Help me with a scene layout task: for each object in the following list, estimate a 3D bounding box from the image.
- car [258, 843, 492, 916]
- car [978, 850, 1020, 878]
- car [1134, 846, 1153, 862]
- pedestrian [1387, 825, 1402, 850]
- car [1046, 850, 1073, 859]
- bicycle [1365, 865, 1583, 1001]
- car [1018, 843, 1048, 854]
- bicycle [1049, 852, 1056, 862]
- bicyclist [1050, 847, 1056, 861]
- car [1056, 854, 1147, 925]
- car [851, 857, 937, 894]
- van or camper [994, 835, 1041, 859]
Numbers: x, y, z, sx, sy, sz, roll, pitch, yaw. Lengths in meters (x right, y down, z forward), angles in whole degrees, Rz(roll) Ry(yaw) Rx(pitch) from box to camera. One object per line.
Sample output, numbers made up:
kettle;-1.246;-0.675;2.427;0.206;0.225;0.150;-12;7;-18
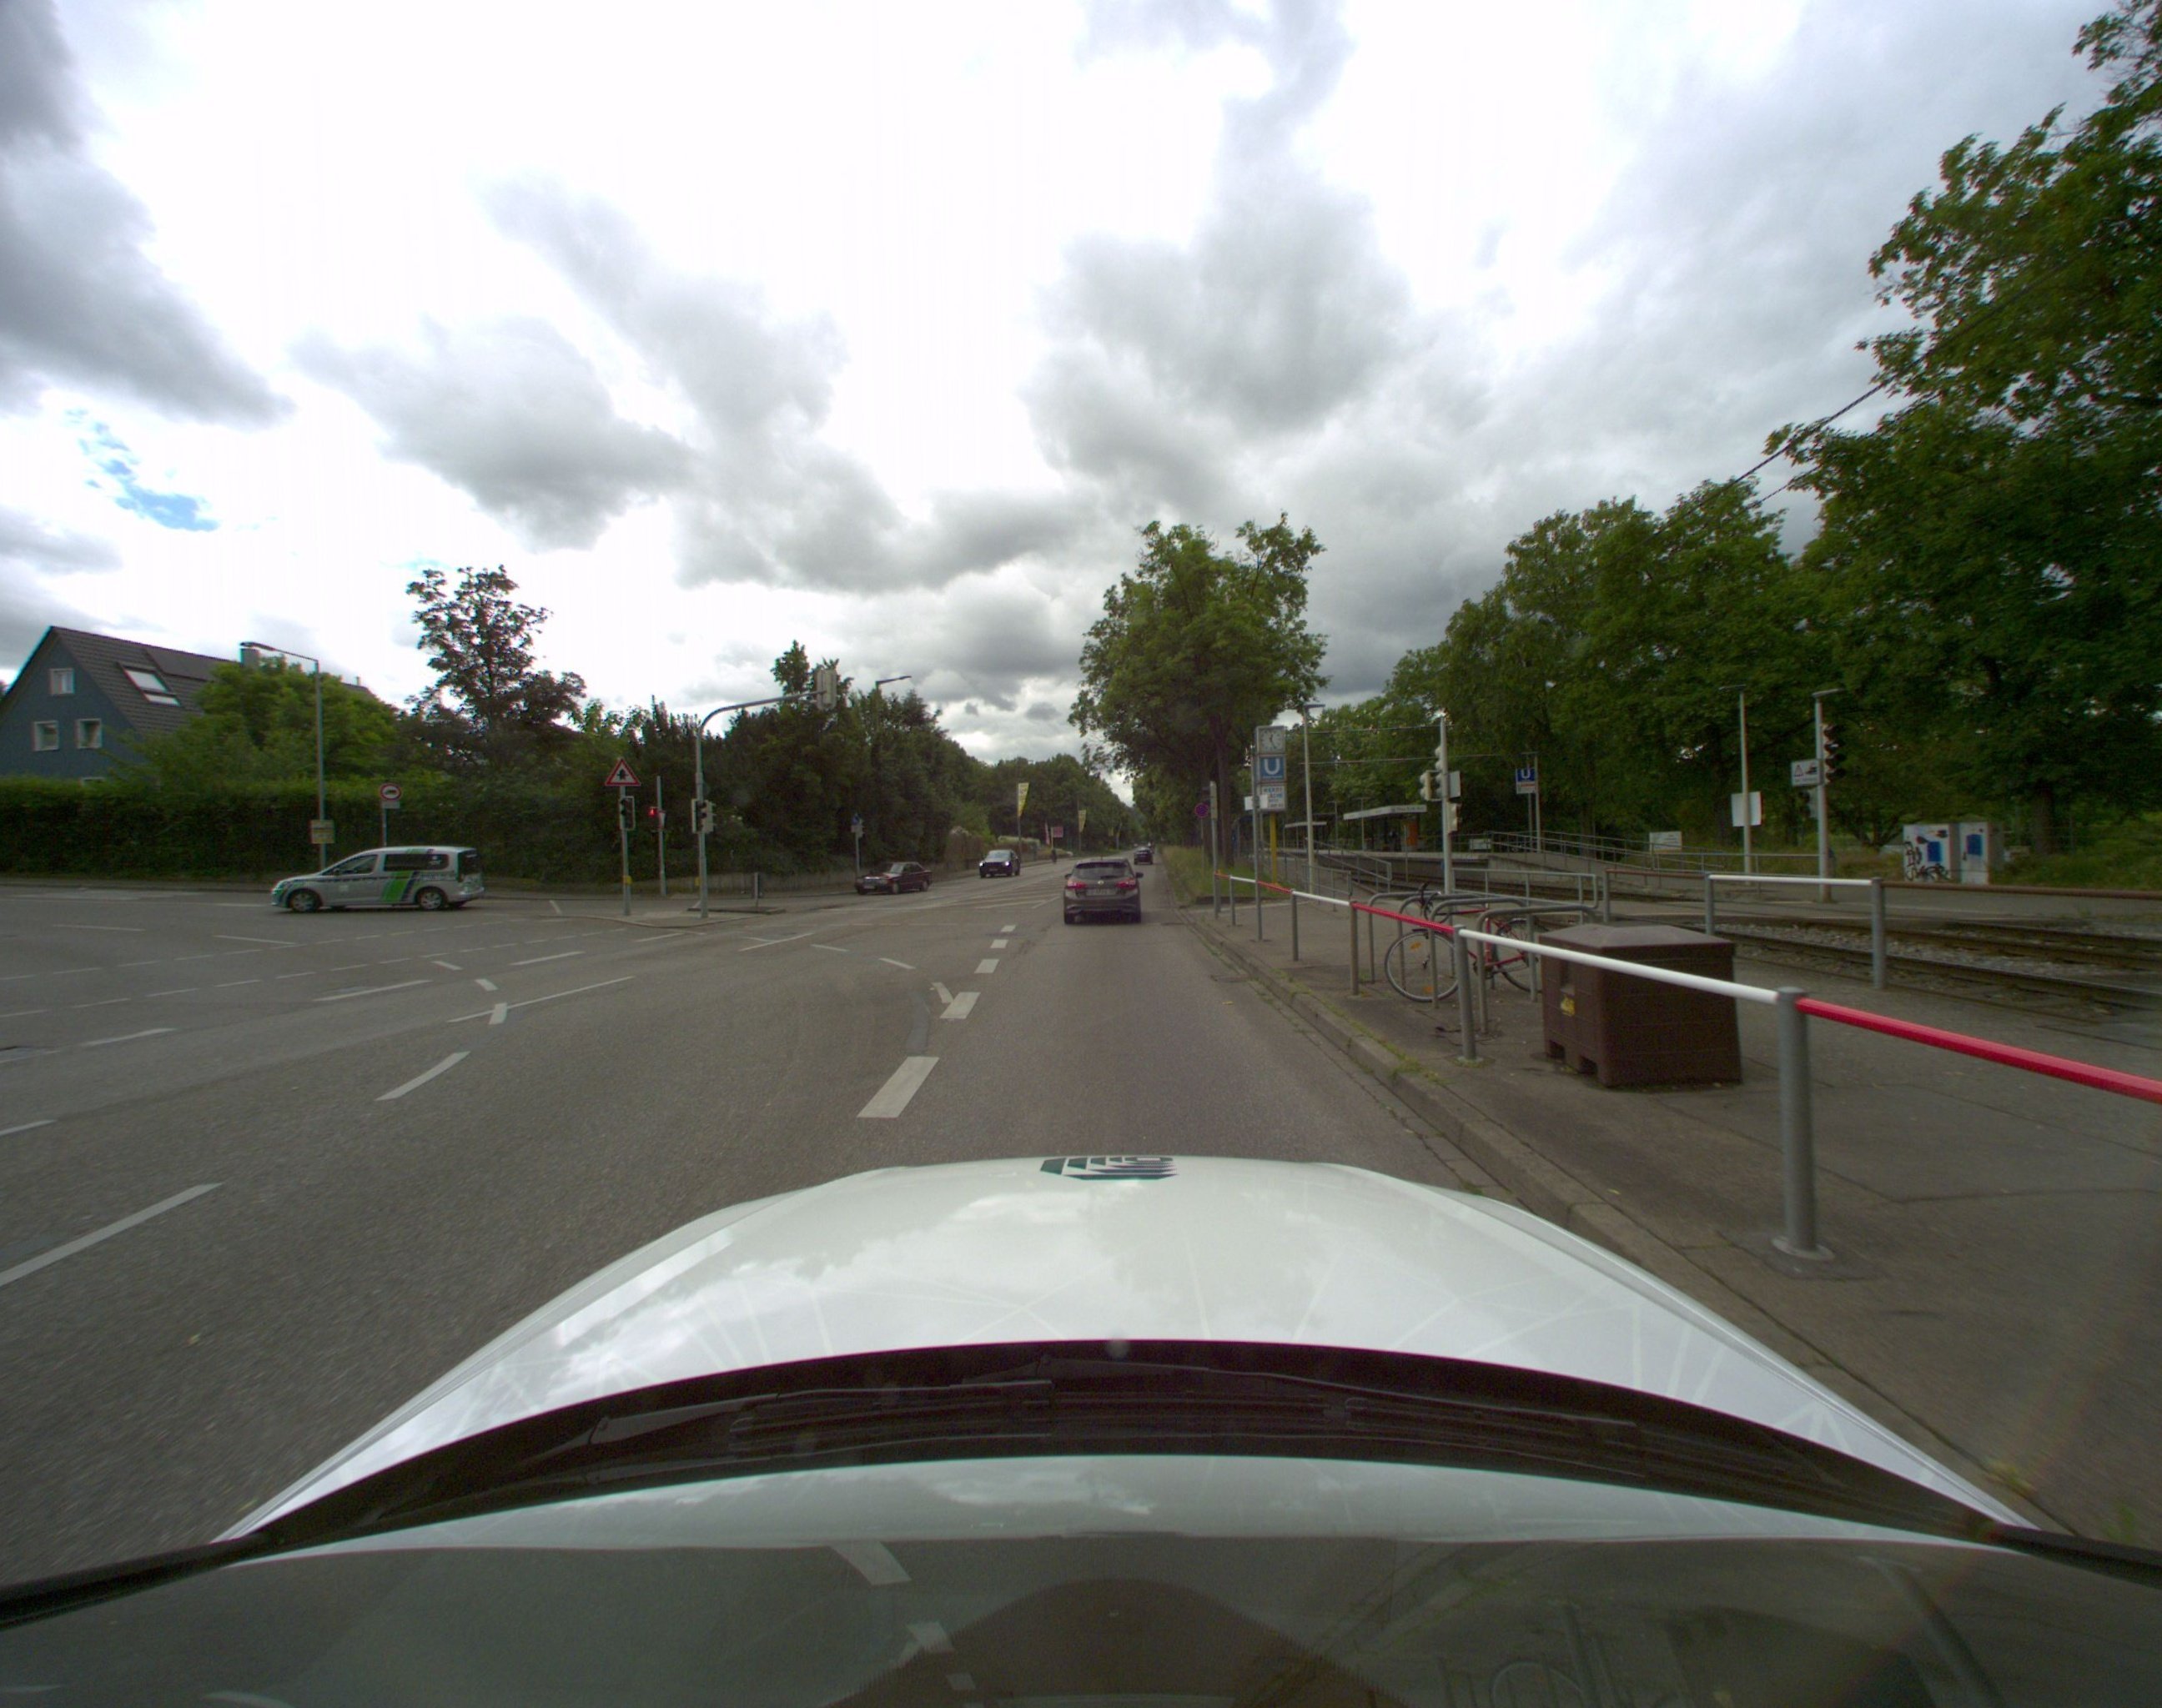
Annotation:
car;-19.605;0.655;22.896;4.544;1.874;1.935;-1;0;-21
car;-5.277;0.619;53.241;1.894;1.678;5.085;-2;0;3
car;6.047;-0.021;78.748;1.701;1.475;3.678;-1;0;7
pedestrian;18.900;-0.997;49.087;0.714;1.511;0.725;0;-1;8
car;-3.481;0.071;133.696;4.357;1.441;1.963;0;0;2
bicycle;3.631;0.717;7.614;1.668;1.090;0.602;-5;-1;1
car;-6.686;-0.742;113.675;3.963;1.497;1.864;0;0;9
bicycle;-3.103;0.310;89.421;0.640;1.145;2.148;0;0;1
bicyclist;-3.105;-0.030;89.447;0.640;1.535;0.979;0;0;1
car;0.603;0.792;19.886;1.827;1.528;3.937;-1;0;7
car;-7.883;0.875;34.780;1.729;1.464;4.359;0;0;14
van or camper;-10.368;-1.146;134.058;7.108;3.370;2.800;4;1;5
